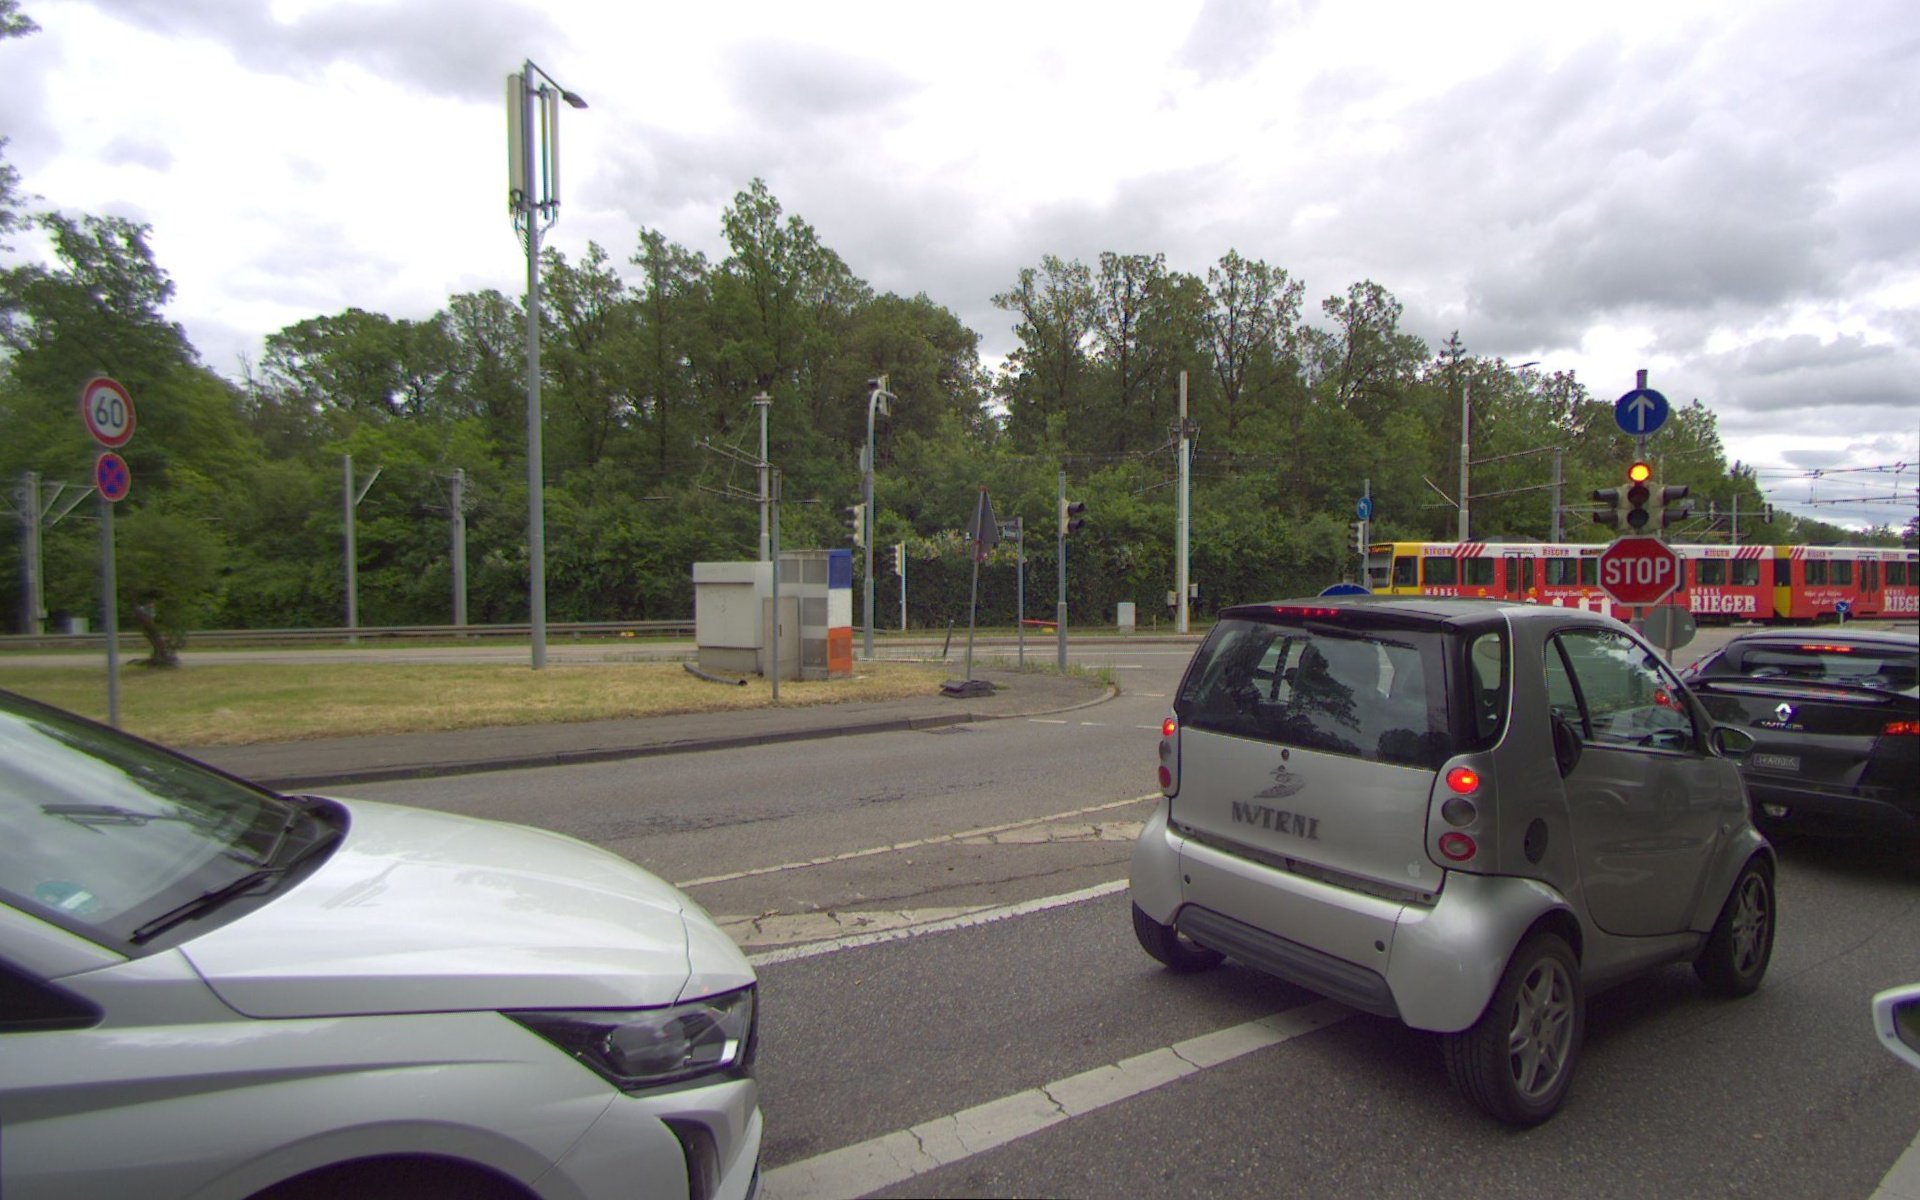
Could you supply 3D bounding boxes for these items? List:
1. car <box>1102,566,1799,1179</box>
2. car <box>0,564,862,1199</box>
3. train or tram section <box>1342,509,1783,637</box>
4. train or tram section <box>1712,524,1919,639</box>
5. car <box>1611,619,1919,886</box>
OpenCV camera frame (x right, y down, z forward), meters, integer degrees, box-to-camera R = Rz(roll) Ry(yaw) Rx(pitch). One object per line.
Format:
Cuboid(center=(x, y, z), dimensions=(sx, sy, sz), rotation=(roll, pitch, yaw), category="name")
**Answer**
Cuboid(center=(2.042, 0.723, 4.030), dimensions=(2.701, 1.607, 1.447), rotation=(0, 0, -36), category="car")
Cuboid(center=(-2.324, 0.707, 1.601), dimensions=(4.022, 1.499, 1.643), rotation=(0, 0, -28), category="car")
Cuboid(center=(25.181, -0.970, 41.881), dimensions=(18.397, 4.477, 2.960), rotation=(2, 0, -11), category="train or tram section")
Cuboid(center=(43.097, -0.587, 47.036), dimensions=(18.260, 4.712, 2.943), rotation=(2, 0, -19), category="train or tram section")
Cuboid(center=(6.058, 0.844, 6.920), dimensions=(3.448, 1.380, 1.759), rotation=(0, 0, -41), category="car")
